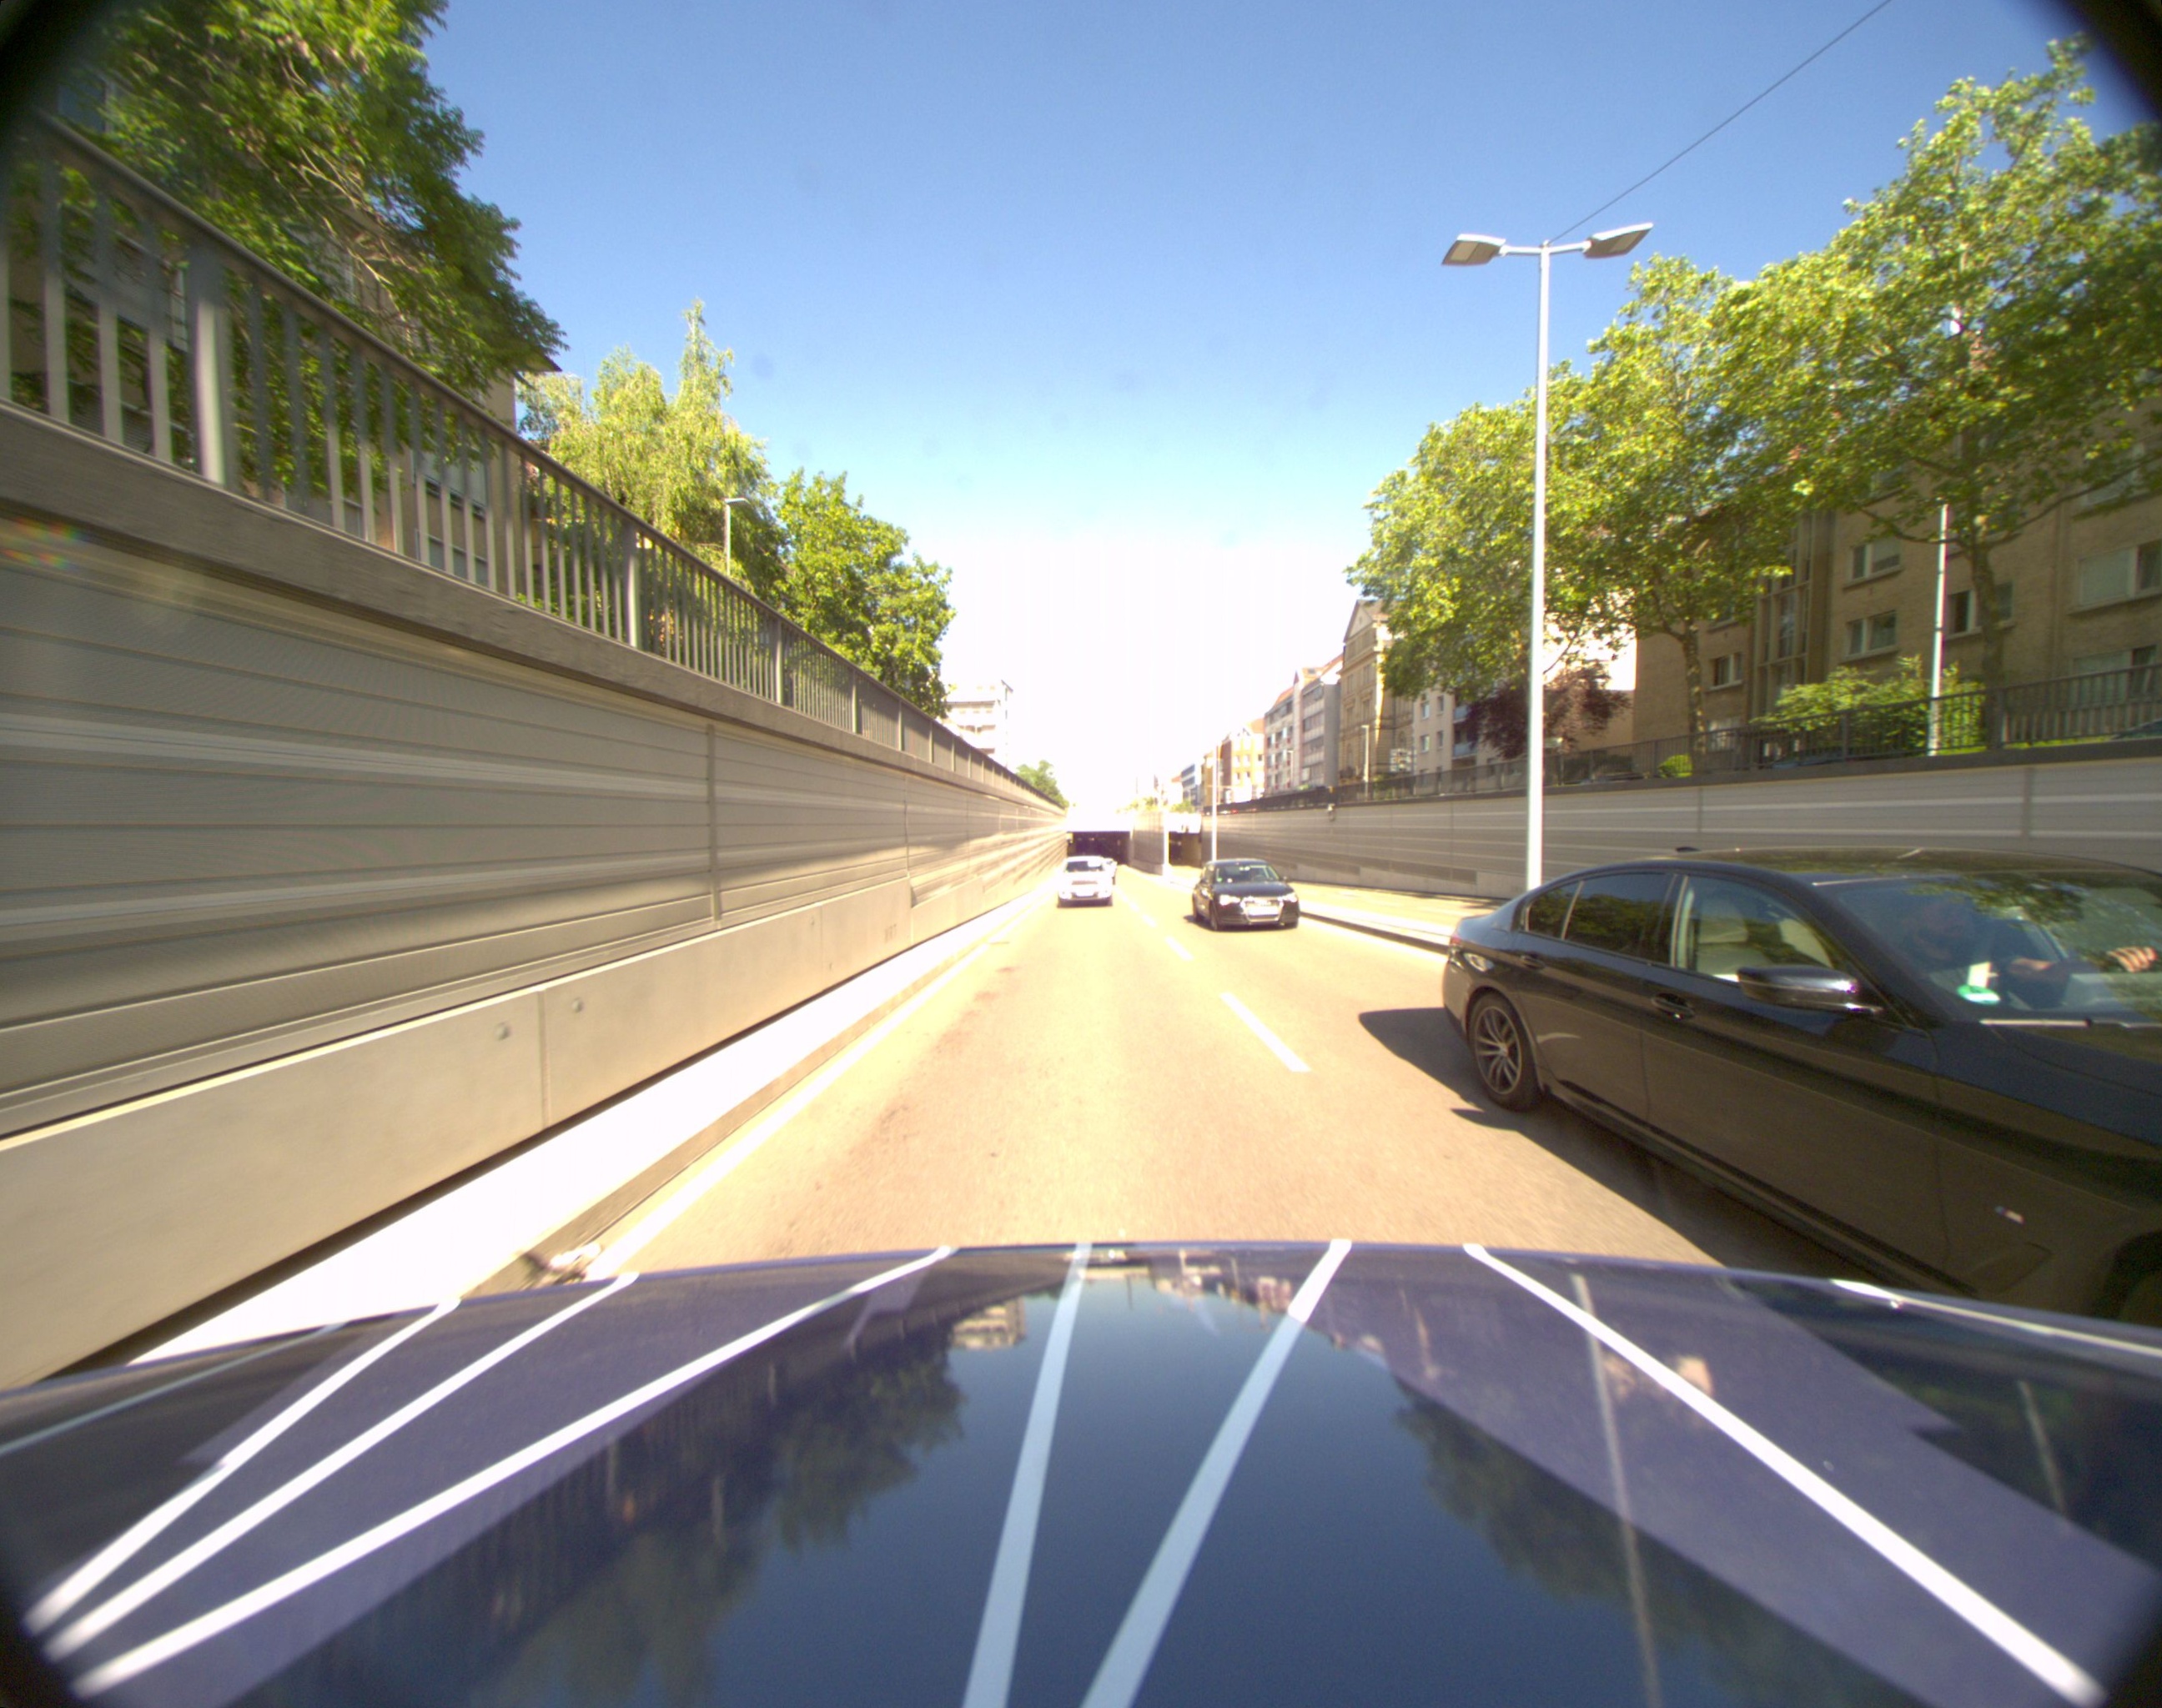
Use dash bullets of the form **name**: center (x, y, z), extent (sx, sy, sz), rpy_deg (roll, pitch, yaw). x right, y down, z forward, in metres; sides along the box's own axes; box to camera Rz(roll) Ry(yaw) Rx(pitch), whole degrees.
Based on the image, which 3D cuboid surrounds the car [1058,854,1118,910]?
- **car**: center (0.247, 0.893, 26.020), extent (1.855, 1.658, 3.970), rpy_deg (-2, 1, 1)

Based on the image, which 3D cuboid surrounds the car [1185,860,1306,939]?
- **car**: center (3.353, 0.871, 16.173), extent (1.700, 1.410, 3.888), rpy_deg (-2, 0, 0)

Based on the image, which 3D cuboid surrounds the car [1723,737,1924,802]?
- **car**: center (22.544, -2.510, 23.375), extent (1.926, 1.575, 4.302), rpy_deg (-2, 2, -1)

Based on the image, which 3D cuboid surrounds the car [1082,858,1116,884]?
- **car**: center (1.126, 1.041, 47.516), extent (1.998, 1.407, 3.999), rpy_deg (-2, 1, 1)

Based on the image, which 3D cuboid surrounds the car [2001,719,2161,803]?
- **car**: center (22.327, -1.931, 15.475), extent (1.926, 1.575, 4.302), rpy_deg (-2, 2, -1)

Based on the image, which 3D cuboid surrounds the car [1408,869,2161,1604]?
- **car**: center (3.189, 0.851, 2.765), extent (1.813, 1.431, 5.002), rpy_deg (-2, 0, 0)

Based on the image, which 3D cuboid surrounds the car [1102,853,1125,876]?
- **car**: center (3.177, 1.047, 75.936), extent (1.999, 2.002, 3.998), rpy_deg (-2, 2, -1)
